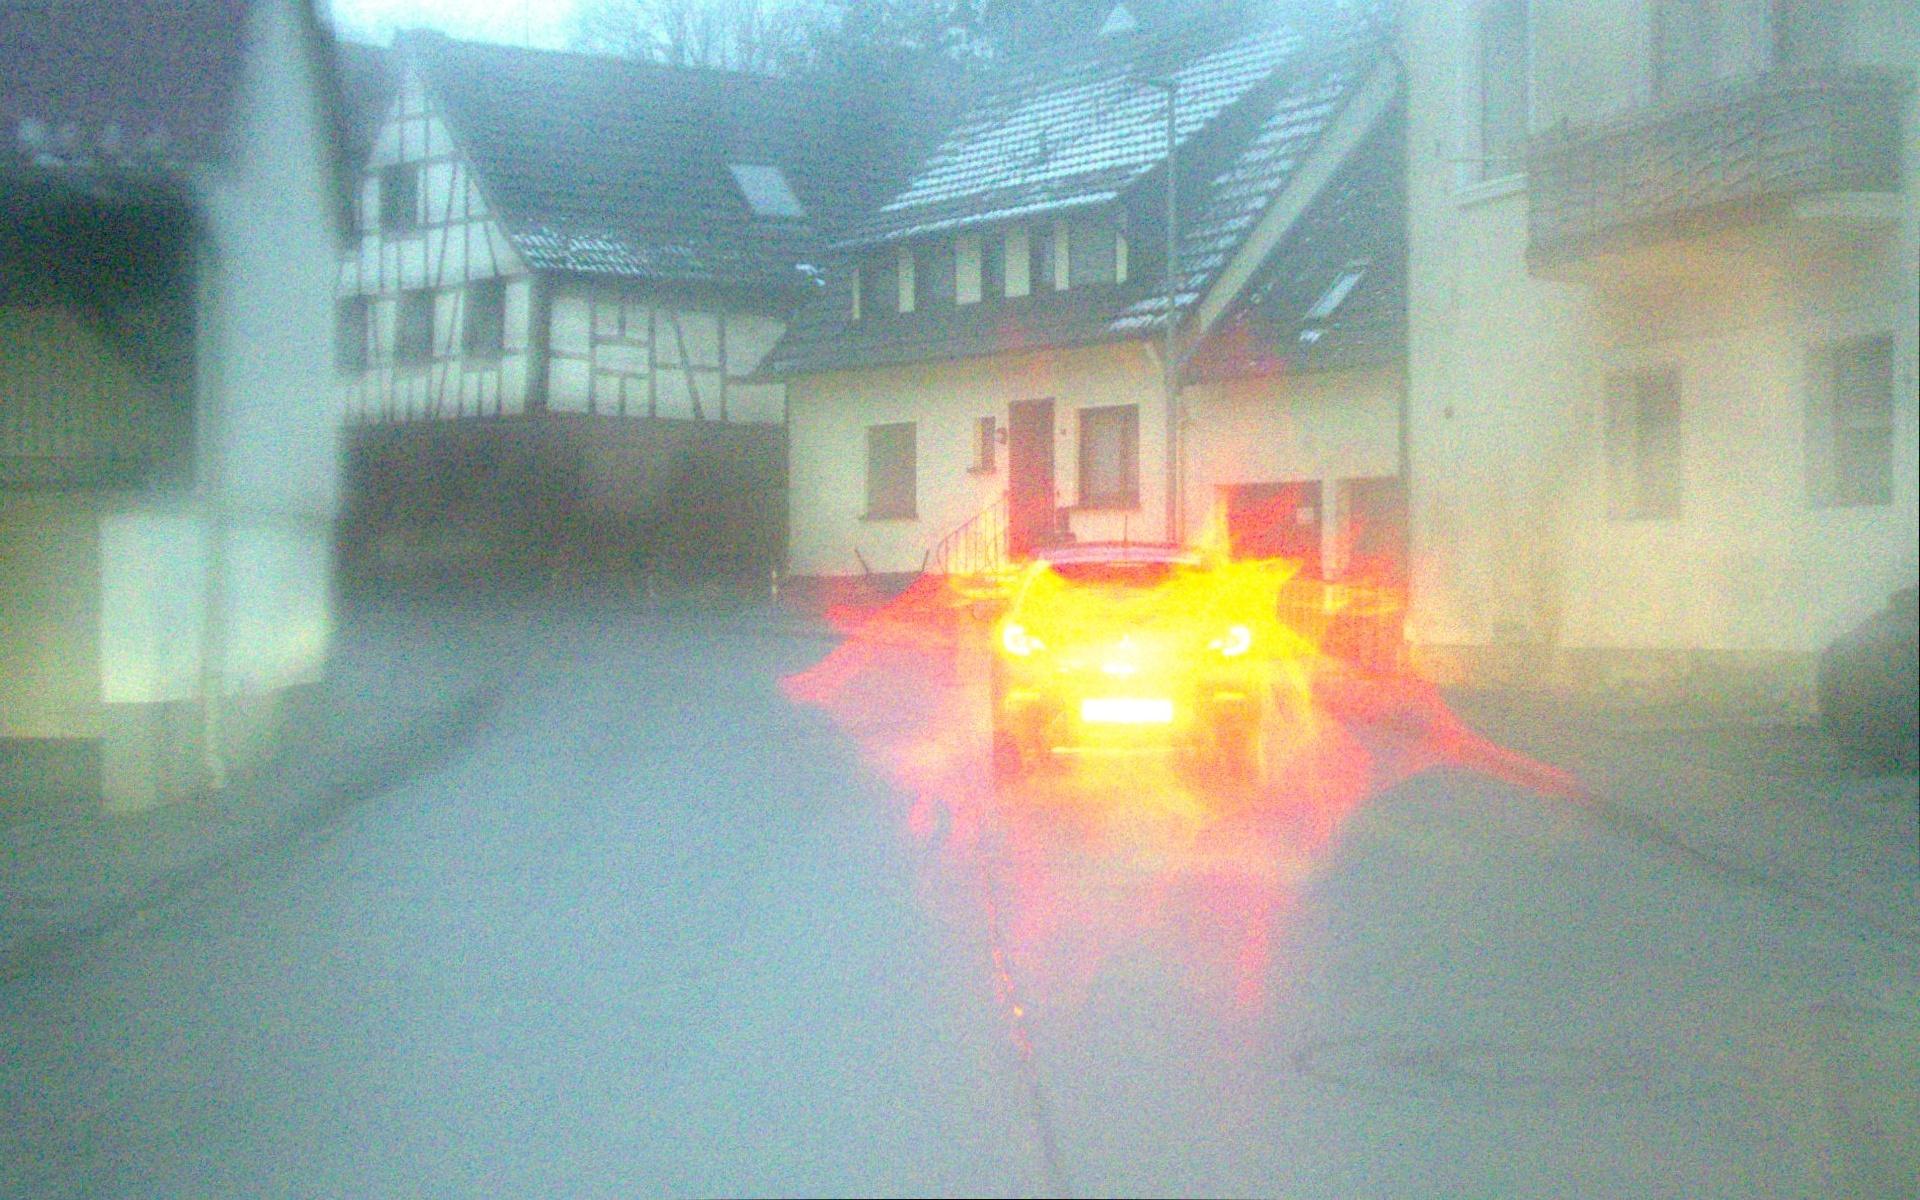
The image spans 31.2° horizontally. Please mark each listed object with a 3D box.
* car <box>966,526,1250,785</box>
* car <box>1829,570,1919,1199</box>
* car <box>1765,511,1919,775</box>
[{"bbox_3d":[0.858,0.290,21.728,1.546,1.461,3.699,1,1,-1],"label":"car"},{"bbox_3d":[2.543,0.741,4.443,1.637,1.489,4.001,2,1,-3],"label":"car"},{"bbox_3d":[6.371,0.204,19.091,1.806,1.482,4.279,-2,0,-16],"label":"car"}]
